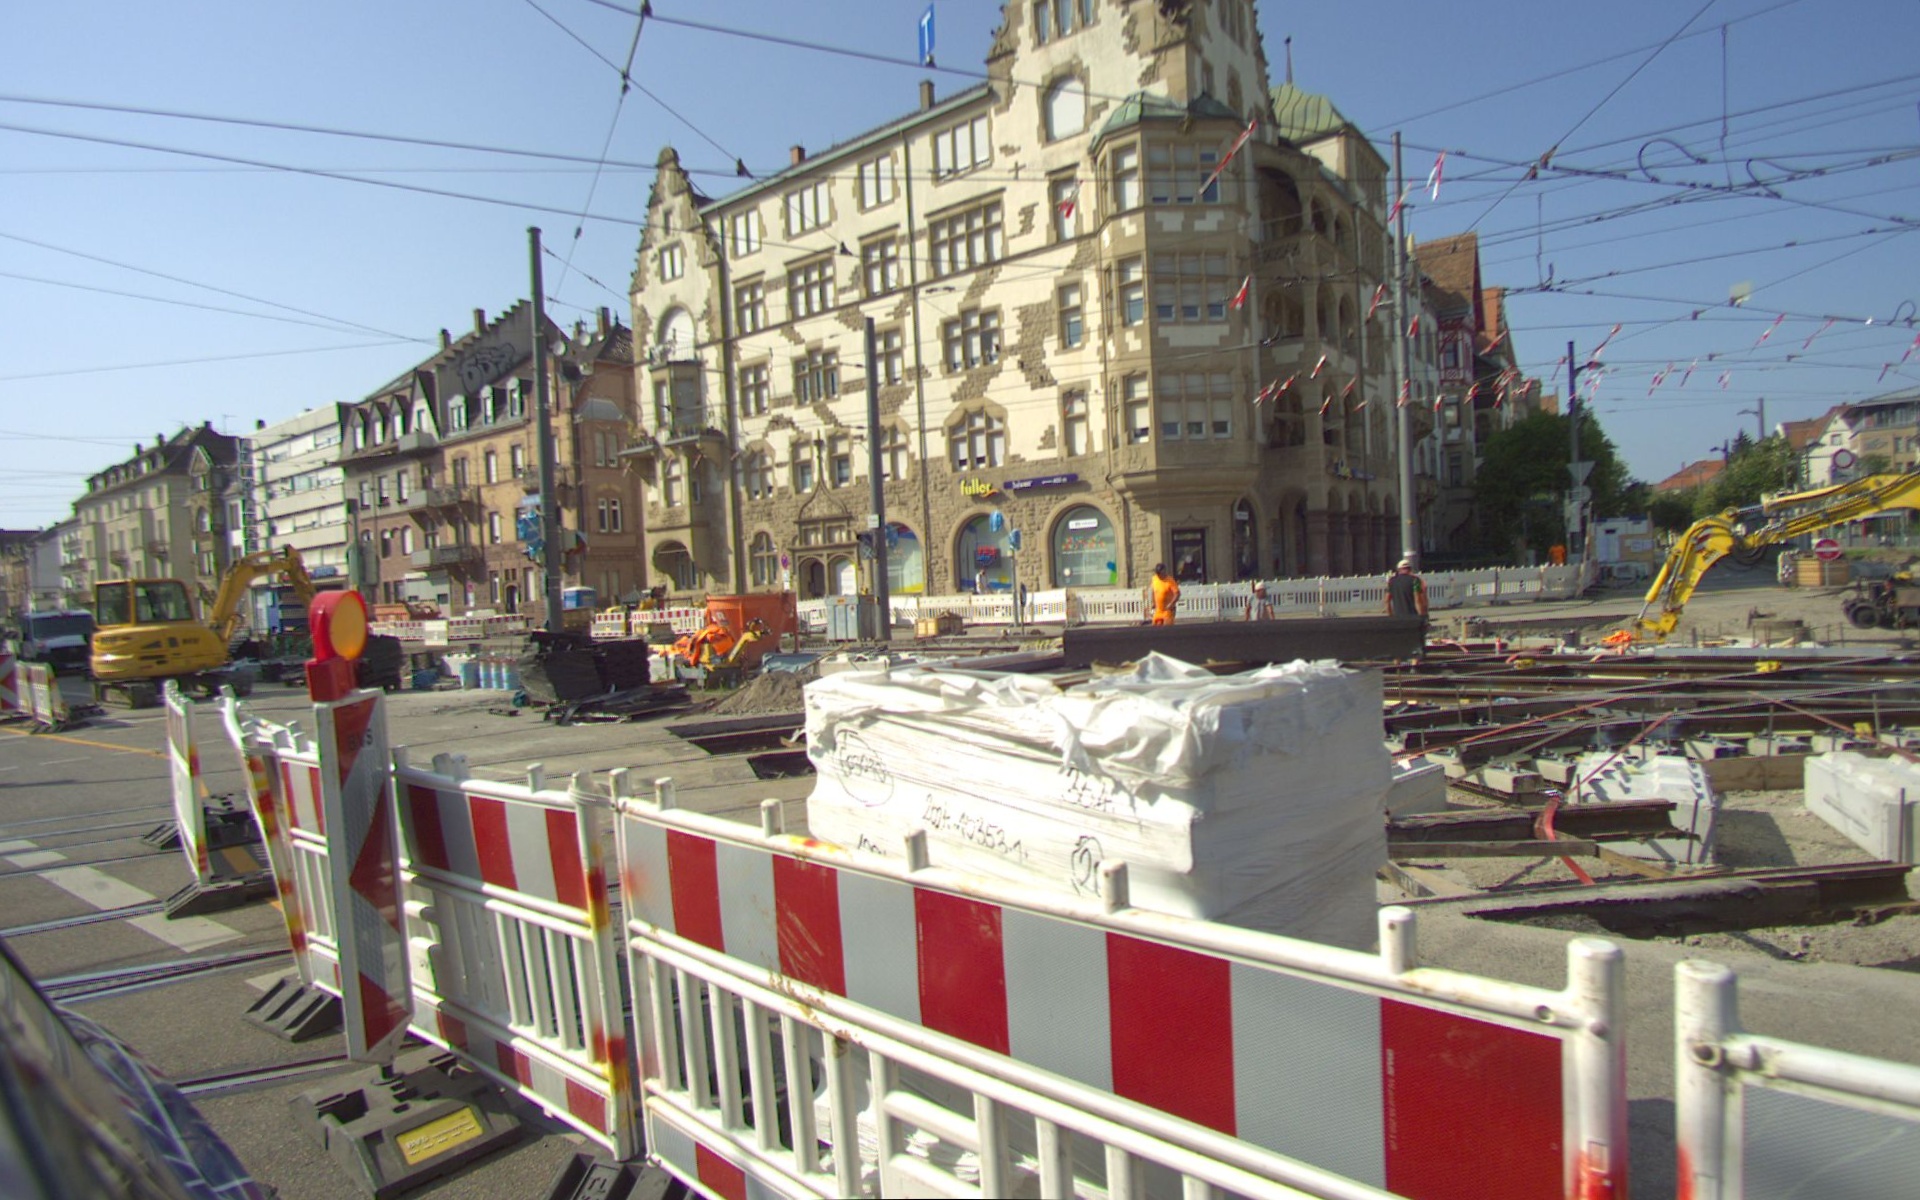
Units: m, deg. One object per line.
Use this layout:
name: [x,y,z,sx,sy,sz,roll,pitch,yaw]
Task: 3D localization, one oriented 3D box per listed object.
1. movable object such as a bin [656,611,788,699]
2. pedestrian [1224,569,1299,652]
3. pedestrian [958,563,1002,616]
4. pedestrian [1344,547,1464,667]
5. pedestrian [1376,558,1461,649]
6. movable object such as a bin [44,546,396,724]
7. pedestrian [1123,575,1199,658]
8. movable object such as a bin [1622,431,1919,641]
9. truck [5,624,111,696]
movable object such as a bin: [-3.589,0.812,15.120,2.291,1.178,0.742,-3,1,45]
pedestrian: [5.578,0.186,18.730,0.916,1.452,1.131,-3,1,38]
pedestrian: [0.690,-0.350,35.196,1.144,1.754,0.906,-3,1,37]
pedestrian: [6.401,0.094,14.622,1.126,1.601,1.024,-4,1,-26]
pedestrian: [7.806,0.052,17.219,1.019,1.452,1.131,-3,1,38]
movable object such as a bin: [-16.057,0.577,22.592,2.099,3.370,6.129,-4,1,18]
pedestrian: [3.779,0.305,18.963,0.916,1.452,1.131,-3,1,38]
movable object such as a bin: [16.681,-1.140,17.570,8.337,3.354,2.819,-3,0,39]
truck: [-32.816,2.135,36.729,7.050,2.238,2.135,-3,1,43]
